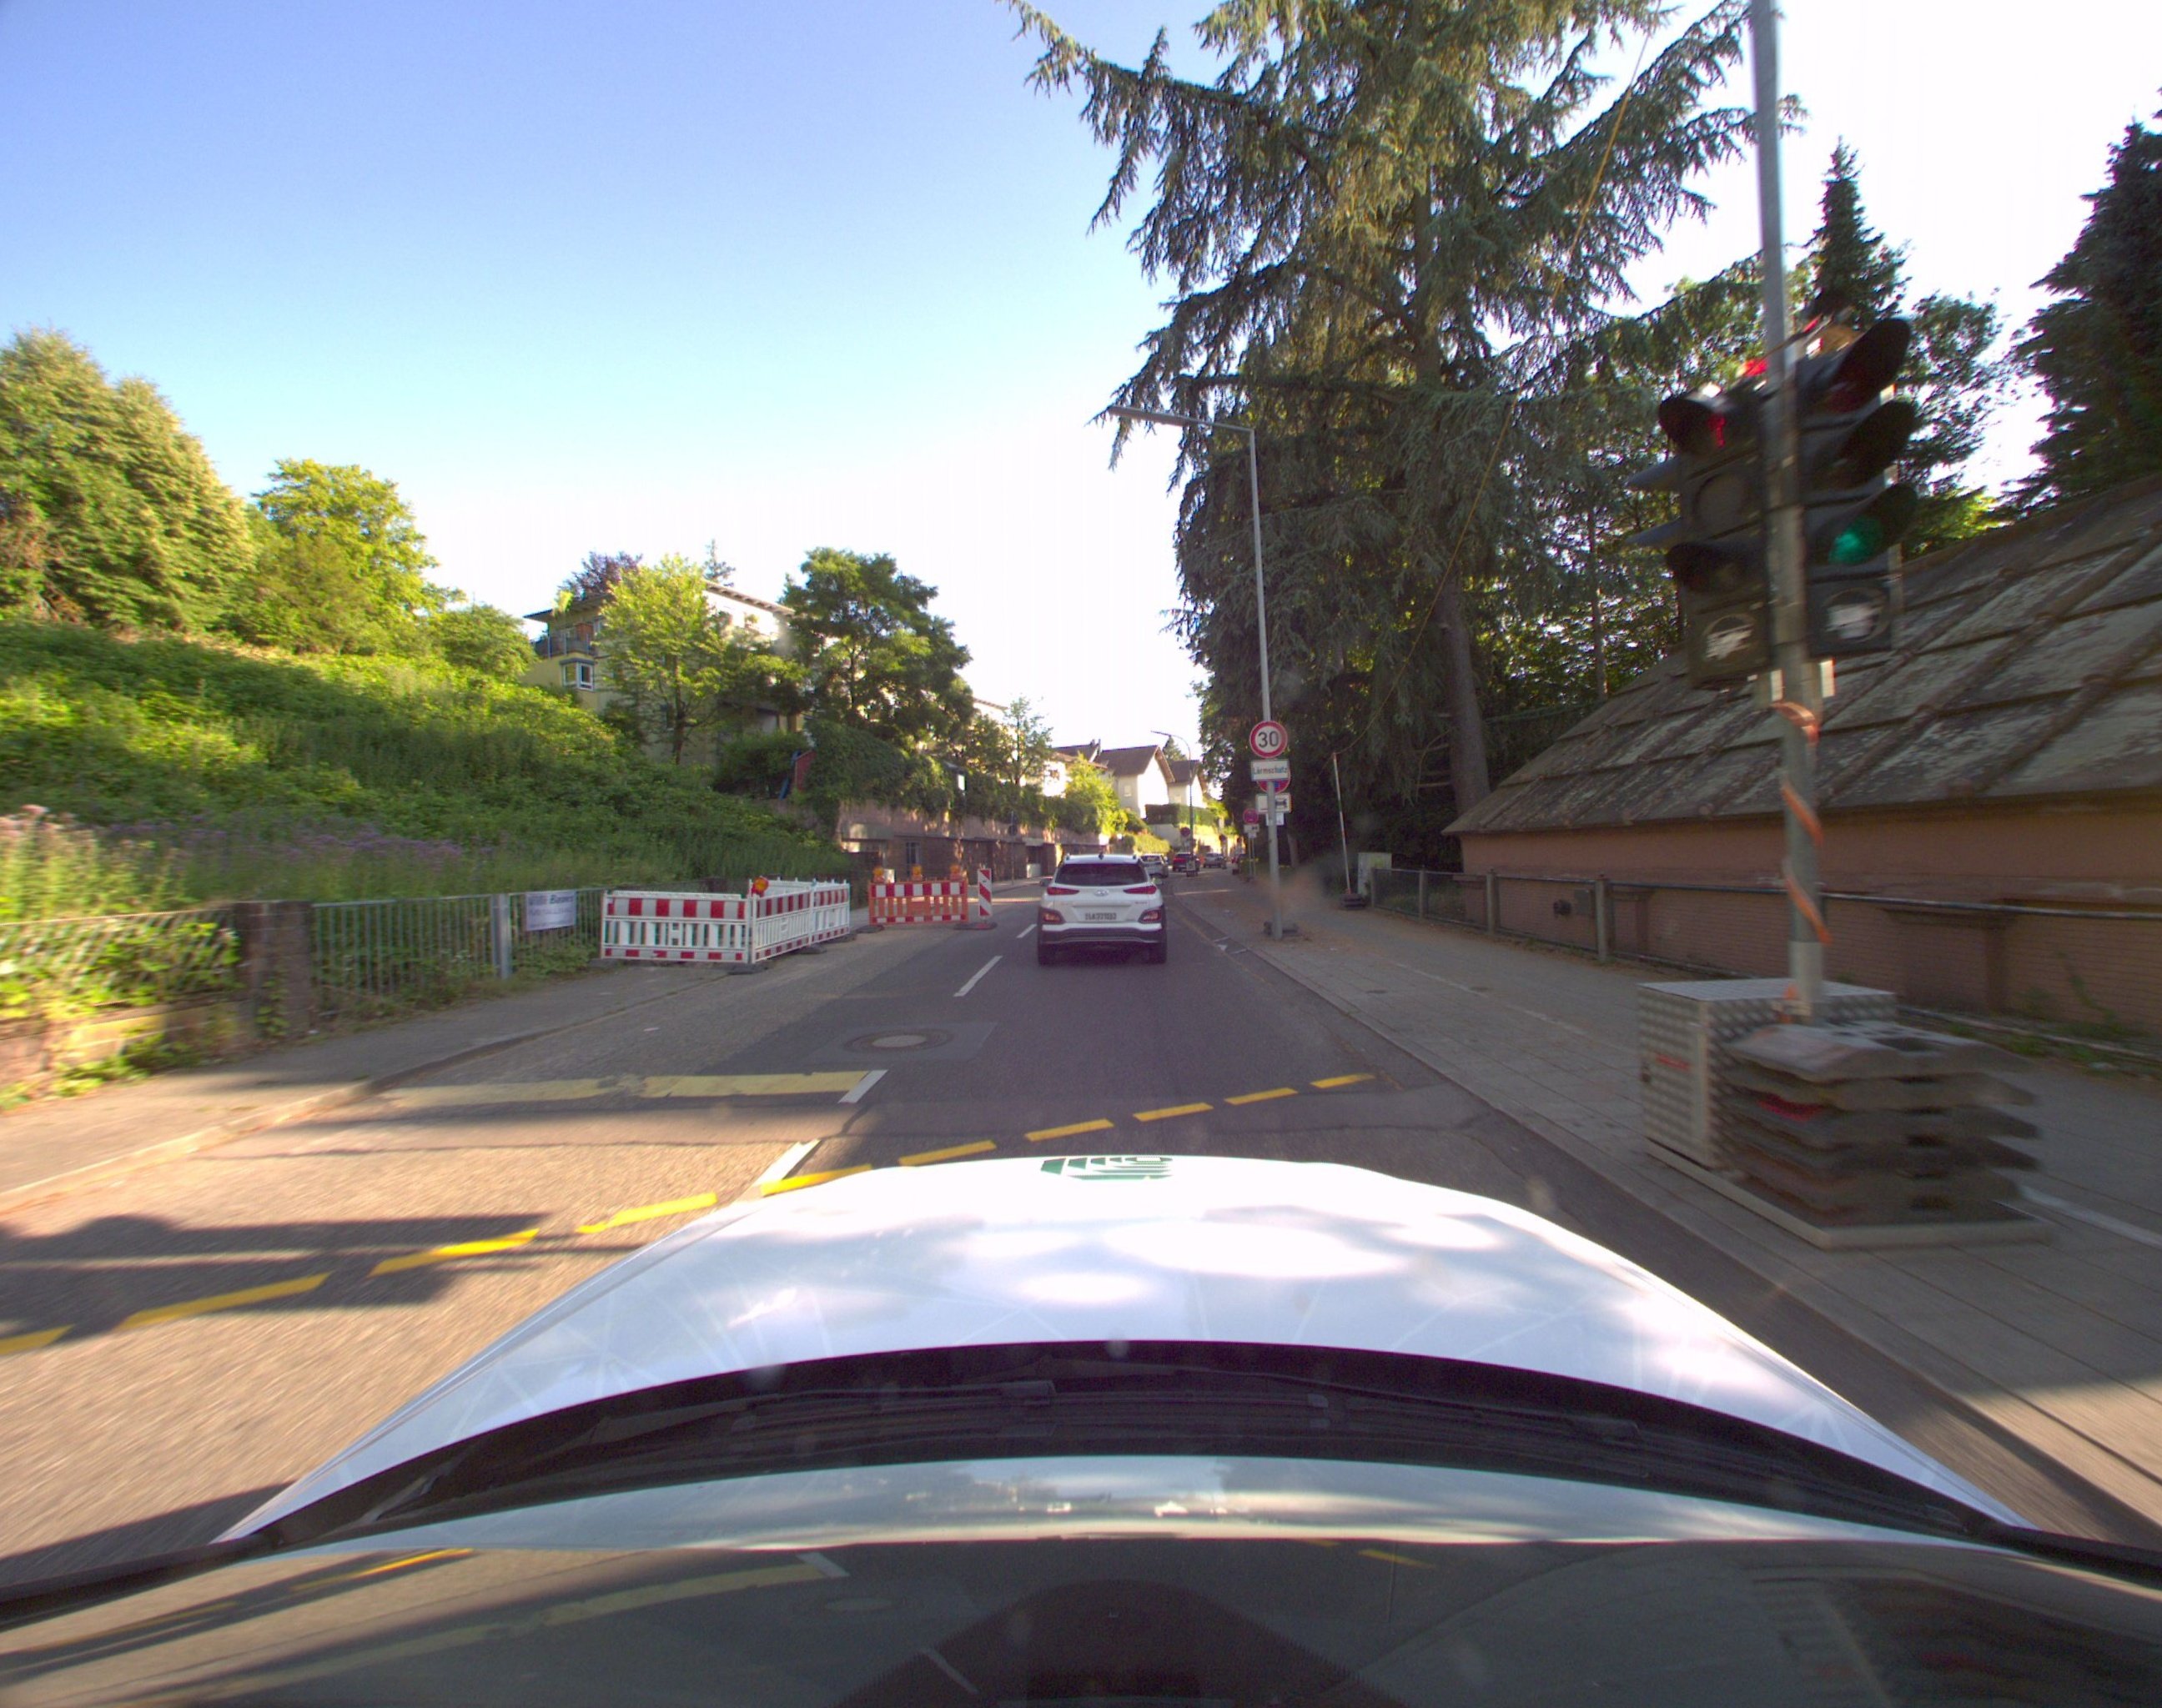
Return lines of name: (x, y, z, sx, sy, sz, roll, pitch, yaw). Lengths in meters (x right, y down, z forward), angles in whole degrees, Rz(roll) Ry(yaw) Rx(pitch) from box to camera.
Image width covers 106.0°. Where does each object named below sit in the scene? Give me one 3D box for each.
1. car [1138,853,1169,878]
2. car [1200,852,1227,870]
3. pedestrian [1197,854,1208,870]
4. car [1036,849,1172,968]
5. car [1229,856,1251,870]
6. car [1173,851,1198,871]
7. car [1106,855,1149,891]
car: (4.607, 0.697, 51.213, 1.796, 1.537, 4.008, 0, 0, 7)
car: (13.337, 0.688, 82.031, 1.816, 1.741, 4.021, -3, -1, 21)
pedestrian: (14.051, 0.917, 94.201, 1.071, 1.912, 0.844, 0, 0, 18)
car: (0.212, 0.721, 12.822, 1.816, 1.574, 3.996, 0, 0, -3)
car: (19.262, 1.045, 98.468, 1.816, 1.662, 4.021, 0, 0, 22)
car: (8.811, 0.552, 68.433, 1.820, 1.662, 4.012, 0, 0, 11)
car: (1.944, 0.779, 35.189, 1.702, 1.434, 4.366, 0, 0, 1)
